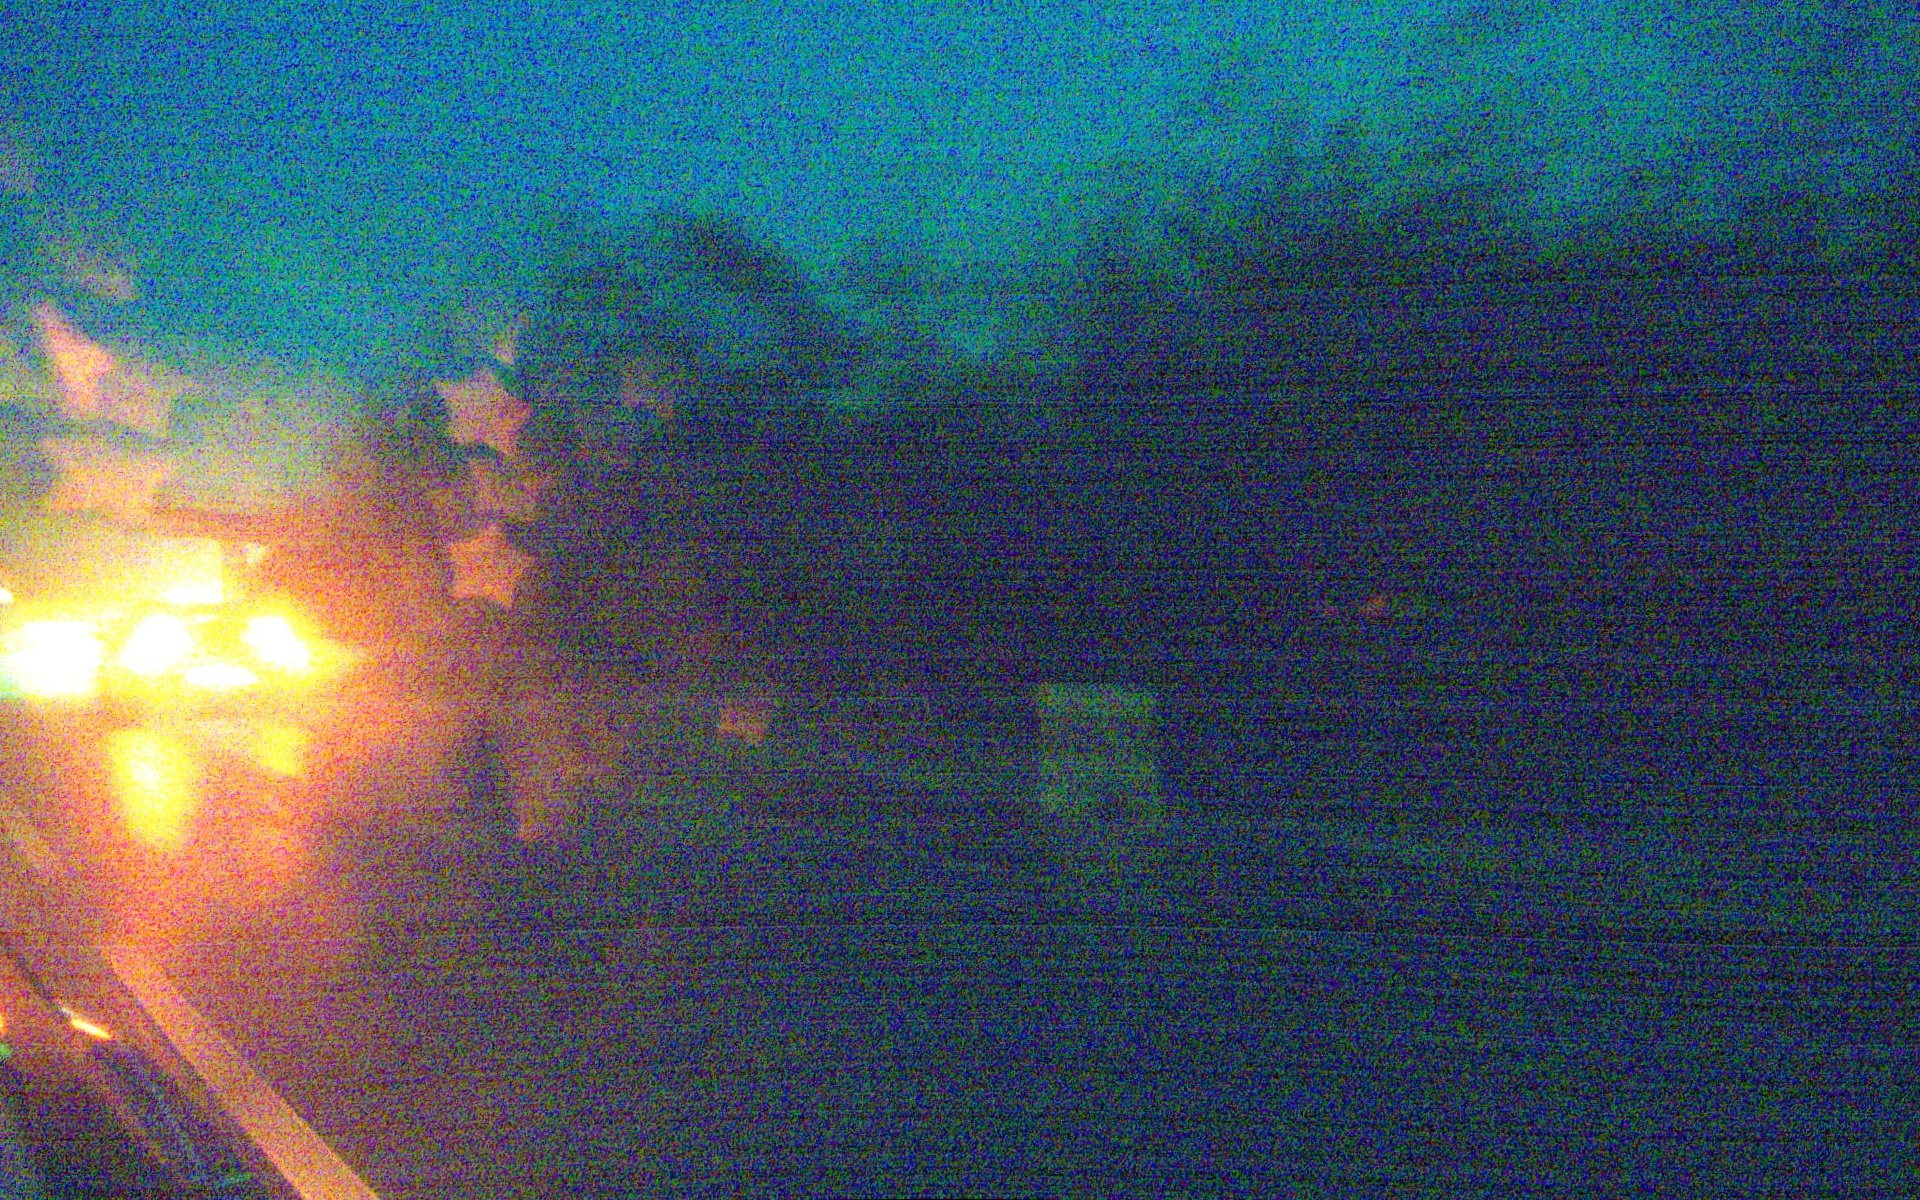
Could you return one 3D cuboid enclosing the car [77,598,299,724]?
[{"bbox_3d":[-12.474,0.893,16.218,4.984,1.721,1.972,-1,-3,43],"label":"car"}]

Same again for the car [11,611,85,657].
[{"bbox_3d":[-34.444,1.269,38.305,1.907,1.596,4.991,2,-2,-41],"label":"car"}]
